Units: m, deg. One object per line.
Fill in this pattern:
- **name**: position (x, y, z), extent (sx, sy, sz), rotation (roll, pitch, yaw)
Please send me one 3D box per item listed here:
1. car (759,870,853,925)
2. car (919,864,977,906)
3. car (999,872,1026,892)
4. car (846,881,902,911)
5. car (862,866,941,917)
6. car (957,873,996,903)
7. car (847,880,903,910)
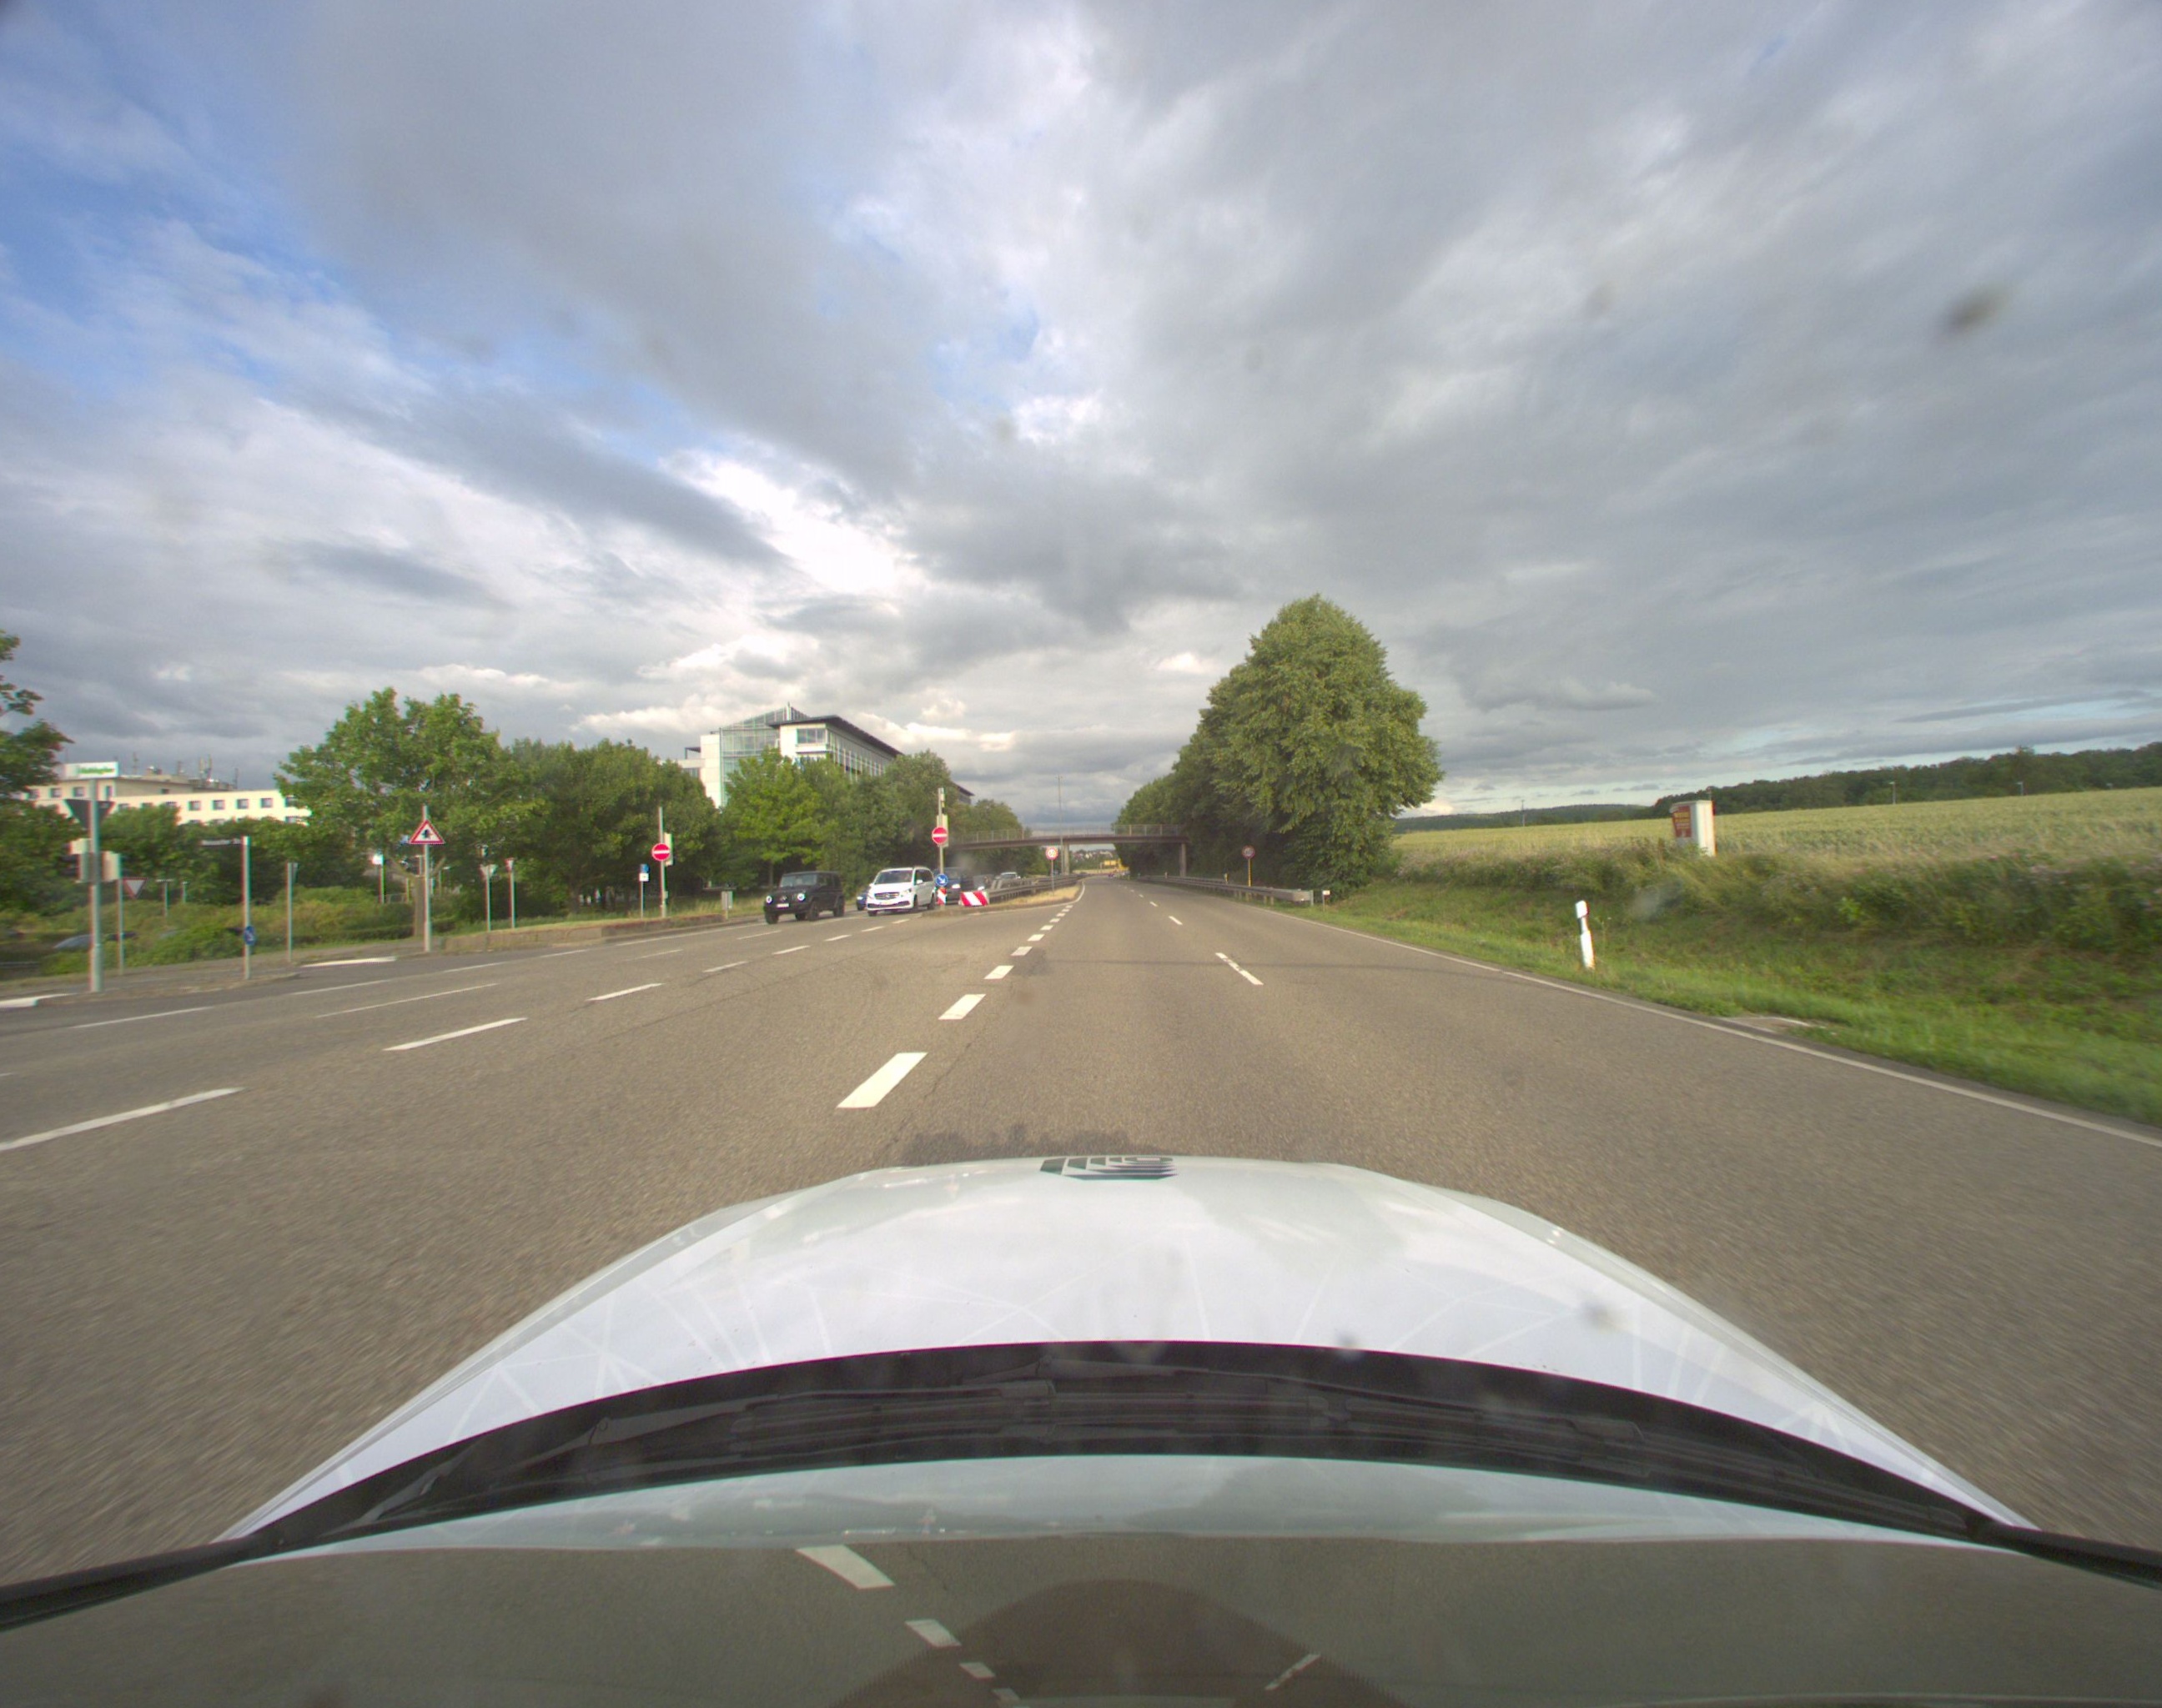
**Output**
- **car**: position (-11.131, 1.717, 33.368), extent (1.927, 1.990, 5.091), rotation (-3, -1, 1)
- **car**: position (-6.935, 1.616, 42.976), extent (1.891, 1.917, 5.053), rotation (-5, -2, 2)
- **car**: position (-5.995, 2.452, 71.472), extent (1.816, 1.584, 4.790), rotation (-4, -1, 1)
- **car**: position (-10.693, 2.134, 42.293), extent (1.715, 1.240, 4.001), rotation (-5, -1, 1)
- **car**: position (-7.415, 1.498, 34.196), extent (1.927, 1.872, 5.347), rotation (-3, -1, 1)
- **car**: position (-6.449, 2.078, 50.831), extent (1.707, 1.589, 4.554), rotation (-3, -1, 1)
- **car**: position (-10.660, 2.098, 42.383), extent (1.641, 1.388, 4.188), rotation (-3, -1, 3)
